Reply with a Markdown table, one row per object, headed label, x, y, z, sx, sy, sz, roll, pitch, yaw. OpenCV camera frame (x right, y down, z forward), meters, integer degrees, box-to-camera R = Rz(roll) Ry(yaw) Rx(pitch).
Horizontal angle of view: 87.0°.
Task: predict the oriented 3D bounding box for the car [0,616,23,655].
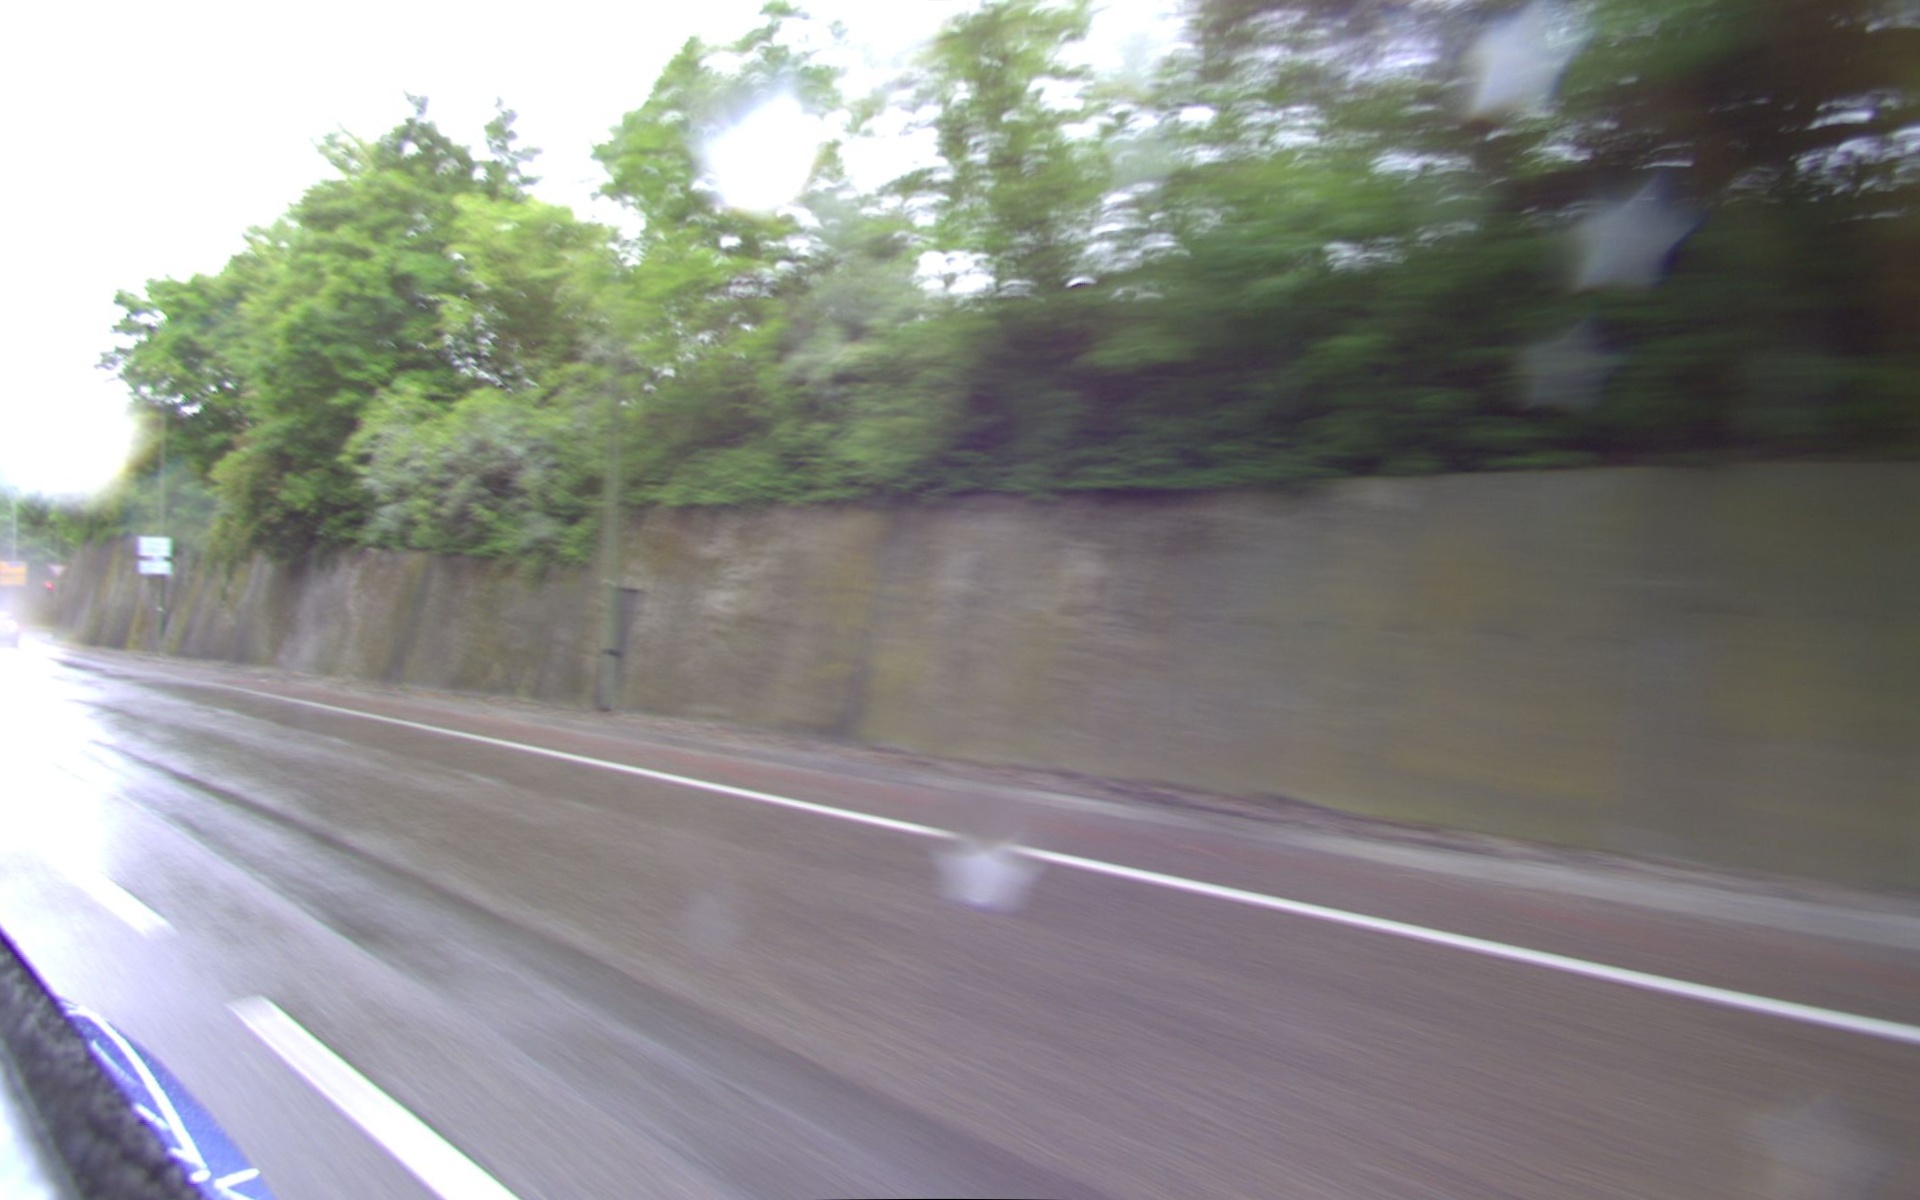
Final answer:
| label | x | y | z | sx | sy | sz | roll | pitch | yaw |
| --- | --- | --- | --- | --- | --- | --- | --- | --- | --- |
| car | -45.532 | 1.646 | 47.650 | 4.052 | 1.670 | 1.794 | 1 | -2 | 44 |

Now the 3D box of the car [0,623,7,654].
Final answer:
| label | x | y | z | sx | sy | sz | roll | pitch | yaw |
| --- | --- | --- | --- | --- | --- | --- | --- | --- | --- |
| car | -50.935 | 1.936 | 52.473 | 1.970 | 1.514 | 4.732 | 6 | -4 | -45 |
